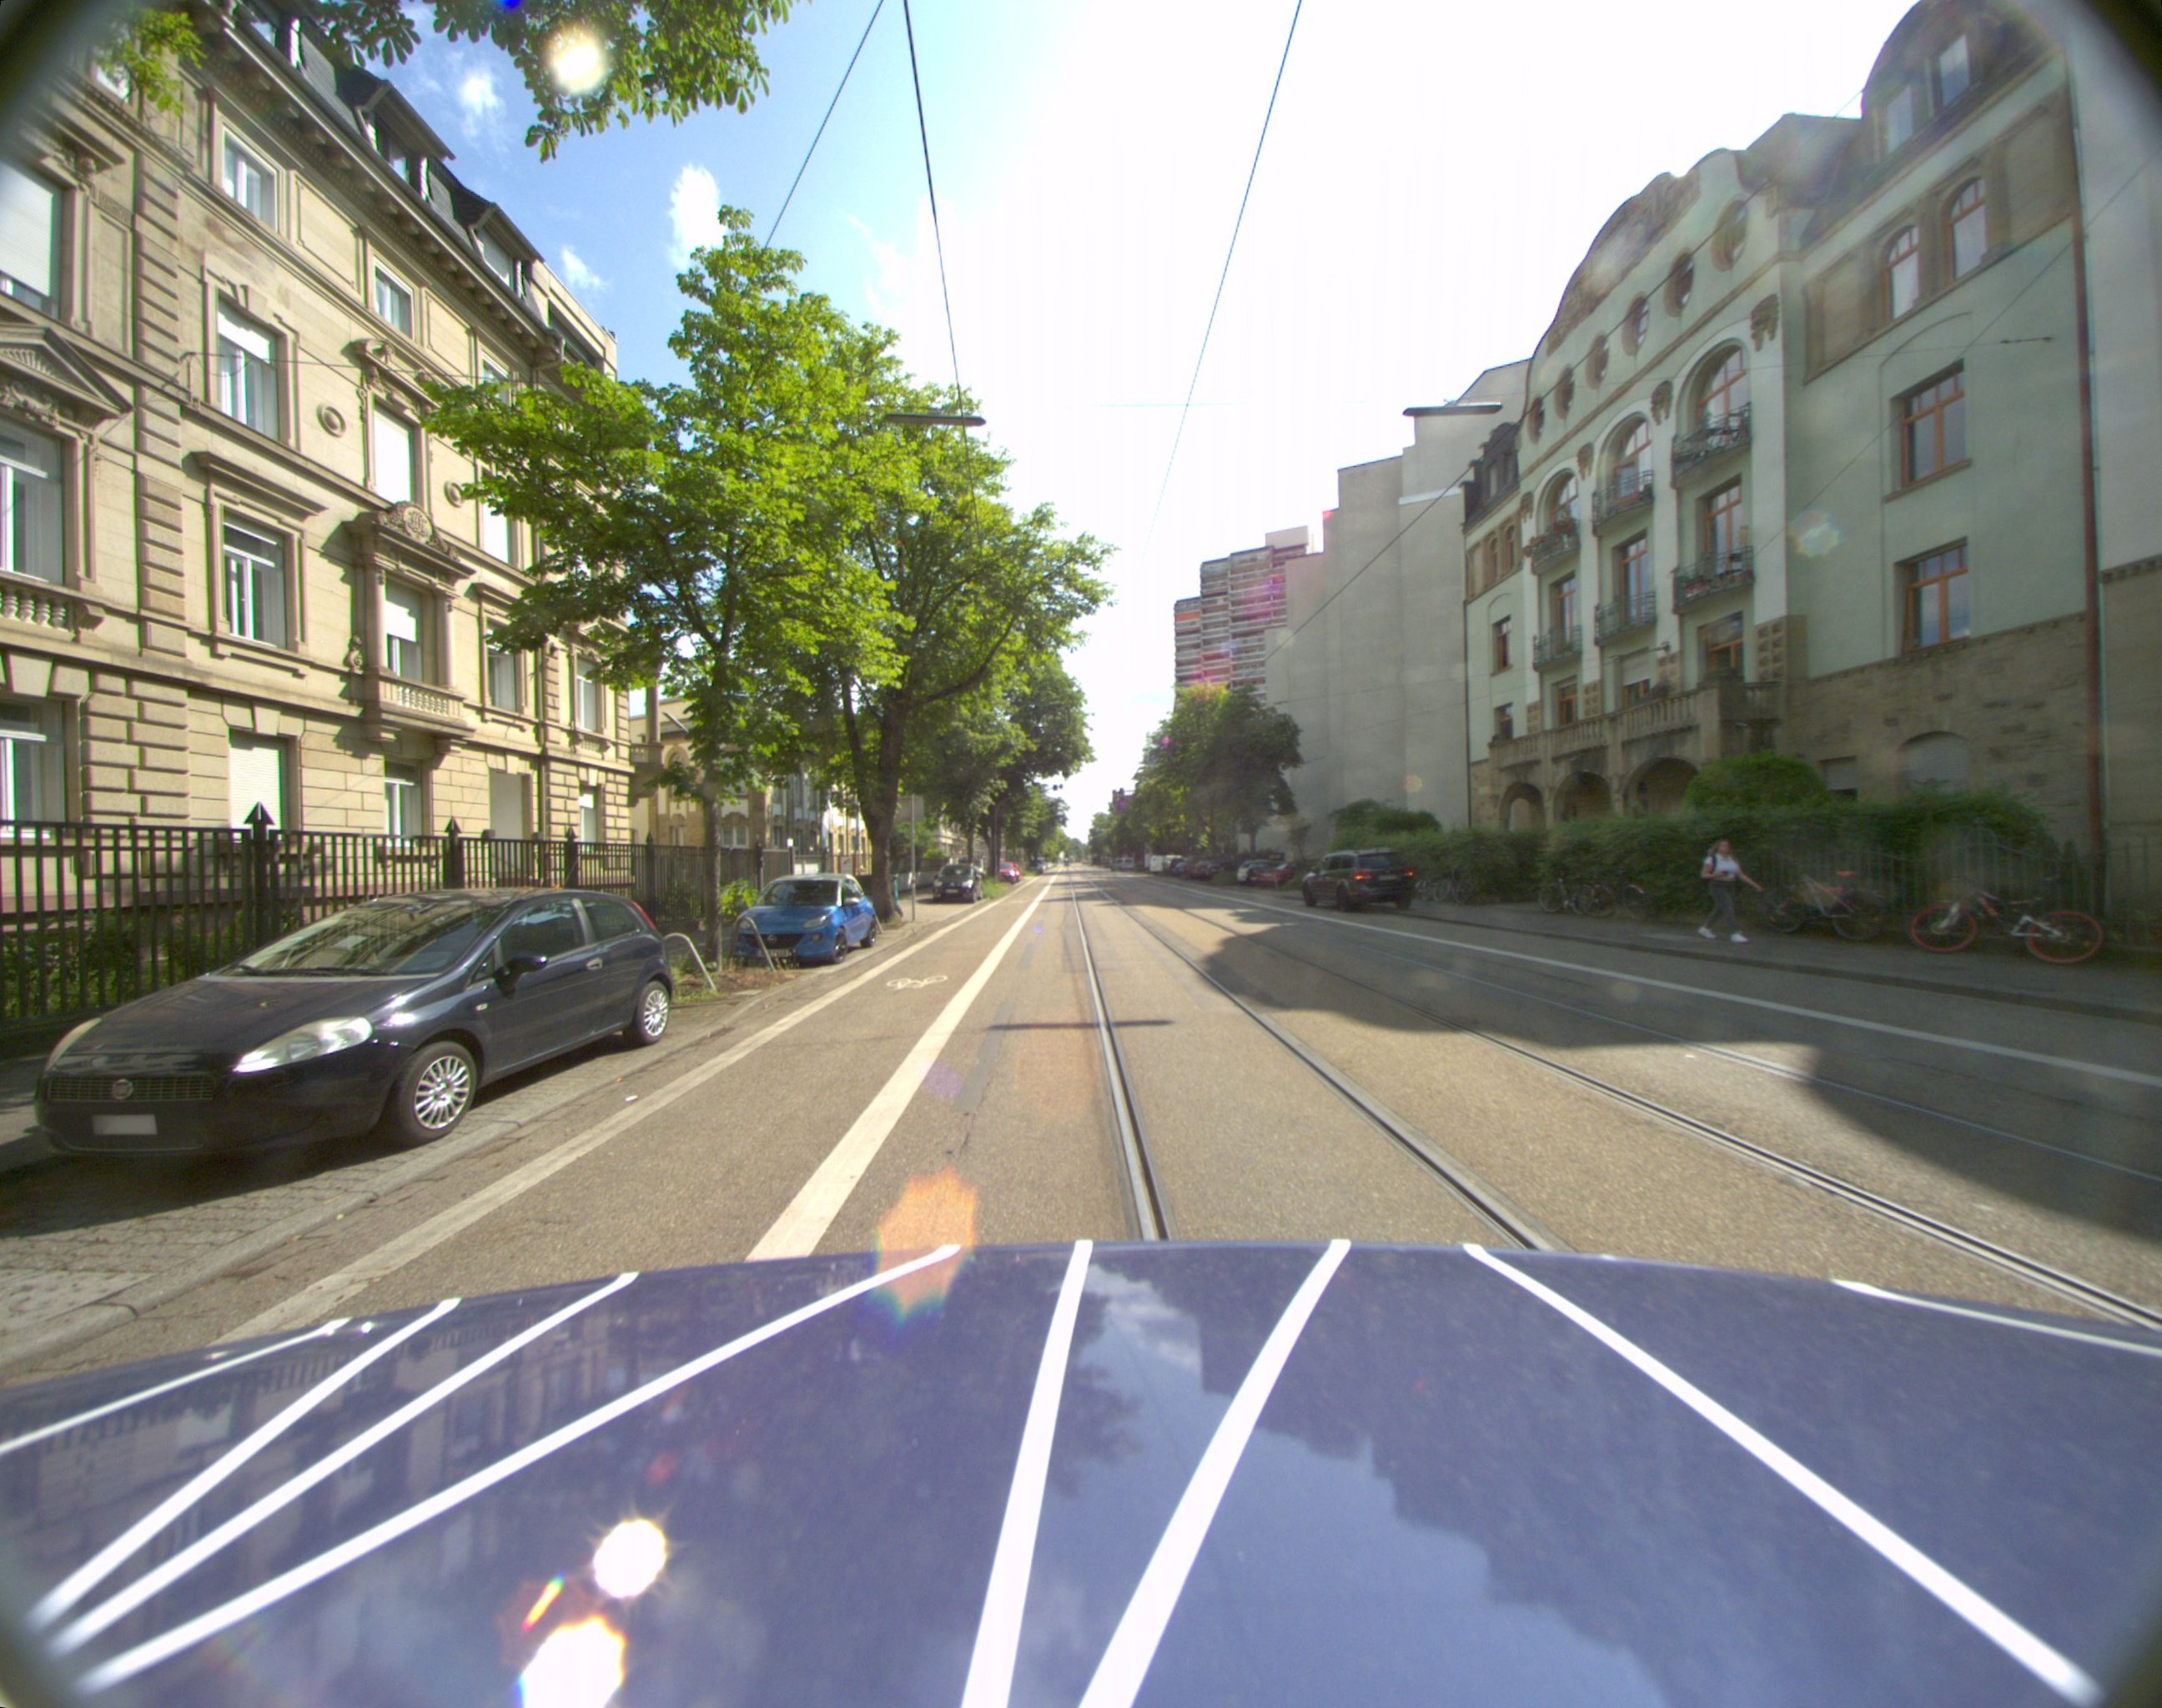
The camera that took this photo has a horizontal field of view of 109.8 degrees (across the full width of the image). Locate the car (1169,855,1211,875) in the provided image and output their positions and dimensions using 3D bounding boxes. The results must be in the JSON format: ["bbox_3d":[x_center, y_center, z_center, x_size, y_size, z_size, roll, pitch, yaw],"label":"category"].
[{"bbox_3d":[9.781,1.013,68.166,3.724,1.683,1.755,1,0,-45],"label":"car"}]

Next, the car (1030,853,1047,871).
[{"bbox_3d":[-6.601,1.183,118.603,2.337,2.545,5.389,-4,0,-2],"label":"car"}]

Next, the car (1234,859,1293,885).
[{"bbox_3d":[10.948,1.043,45.422,1.692,1.475,3.816,1,0,44],"label":"car"}]

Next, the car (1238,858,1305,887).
[{"bbox_3d":[10.593,1.017,42.203,3.815,1.475,1.693,1,0,-41],"label":"car"}]

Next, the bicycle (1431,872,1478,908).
[{"bbox_3d":[10.738,1.009,21.925,0.384,0.953,1.921,-3,0,1],"label":"bicycle"}]

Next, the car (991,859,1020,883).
[{"bbox_3d":[-5.450,1.207,55.220,1.881,1.666,4.281,0,0,-3],"label":"car"}]

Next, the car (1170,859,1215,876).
[{"bbox_3d":[9.553,1.179,64.939,1.755,1.409,4.009,1,0,43],"label":"car"}]

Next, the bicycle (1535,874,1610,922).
[{"bbox_3d":[10.869,0.952,16.876,0.384,0.953,1.921,-3,0,1],"label":"bicycle"}]

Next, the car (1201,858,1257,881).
[{"bbox_3d":[10.173,1.077,52.214,4.009,1.475,1.736,1,0,-43],"label":"car"}]

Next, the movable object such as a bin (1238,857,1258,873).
[{"bbox_3d":[15.470,1.003,70.283,1.391,1.356,1.538,2,0,-5],"label":"movable object such as a bin"}]

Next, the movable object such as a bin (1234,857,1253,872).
[{"bbox_3d":[15.373,0.975,71.937,1.391,1.356,1.538,2,0,-5],"label":"movable object such as a bin"}]

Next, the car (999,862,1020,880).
[{"bbox_3d":[-5.916,1.390,62.975,1.605,1.420,3.594,2,0,-5],"label":"car"}]

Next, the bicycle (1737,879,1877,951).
[{"bbox_3d":[10.955,0.886,11.557,0.384,0.953,1.801,-3,0,1],"label":"bicycle"}]

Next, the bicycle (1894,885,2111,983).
[{"bbox_3d":[10.874,0.900,9.072,0.384,0.970,1.801,-3,0,1],"label":"bicycle"}]

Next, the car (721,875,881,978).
[{"bbox_3d":[-4.780,1.161,13.486,1.644,1.487,3.626,0,0,-3],"label":"car"}]

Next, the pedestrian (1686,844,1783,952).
[{"bbox_3d":[10.043,0.653,11.705,0.681,1.559,0.882,-3,0,1],"label":"pedestrian"}]

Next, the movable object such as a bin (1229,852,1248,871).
[{"bbox_3d":[15.296,0.731,73.684,1.391,1.771,1.538,2,0,-5],"label":"movable object such as a bin"}]

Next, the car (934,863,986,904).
[{"bbox_3d":[-5.081,1.203,32.486,1.701,1.581,4.202,0,0,-2],"label":"car"}]

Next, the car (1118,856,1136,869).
[{"bbox_3d":[6.842,1.229,113.558,1.893,1.840,4.233,-4,0,-7],"label":"car"}]

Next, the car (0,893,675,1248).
[{"bbox_3d":[-4.658,1.108,5.446,1.644,1.487,3.757,0,0,-3],"label":"car"}]

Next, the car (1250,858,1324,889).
[{"bbox_3d":[10.602,1.004,38.999,3.979,1.475,1.841,1,0,-44],"label":"car"}]

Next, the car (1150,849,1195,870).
[{"bbox_3d":[9.394,0.552,77.785,4.696,1.985,1.963,-1,0,-43],"label":"car"}]

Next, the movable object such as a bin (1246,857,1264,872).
[{"bbox_3d":[15.257,0.921,66.773,1.167,1.319,1.441,2,0,-2],"label":"movable object such as a bin"}]

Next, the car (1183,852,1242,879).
[{"bbox_3d":[10.162,0.893,58.598,1.911,1.942,5.180,1,0,43],"label":"car"}]

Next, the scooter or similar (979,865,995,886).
[{"bbox_3d":[-5.811,1.320,47.045,0.341,1.230,1.261,2,0,23],"label":"scooter or similar"}]

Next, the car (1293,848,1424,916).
[{"bbox_3d":[7.998,0.760,22.448,1.790,1.752,4.881,-1,0,-4],"label":"car"}]

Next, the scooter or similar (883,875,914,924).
[{"bbox_3d":[-4.974,1.223,20.690,0.443,1.291,1.179,2,-2,-32],"label":"scooter or similar"}]

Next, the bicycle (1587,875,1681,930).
[{"bbox_3d":[10.808,0.925,14.933,0.452,0.953,1.801,-3,0,-2],"label":"bicycle"}]

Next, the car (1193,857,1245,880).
[{"bbox_3d":[10.042,1.036,55.251,1.736,1.583,4.009,1,0,45],"label":"car"}]

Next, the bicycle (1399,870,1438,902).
[{"bbox_3d":[10.723,1.007,24.191,0.384,0.953,1.810,-3,0,1],"label":"bicycle"}]
